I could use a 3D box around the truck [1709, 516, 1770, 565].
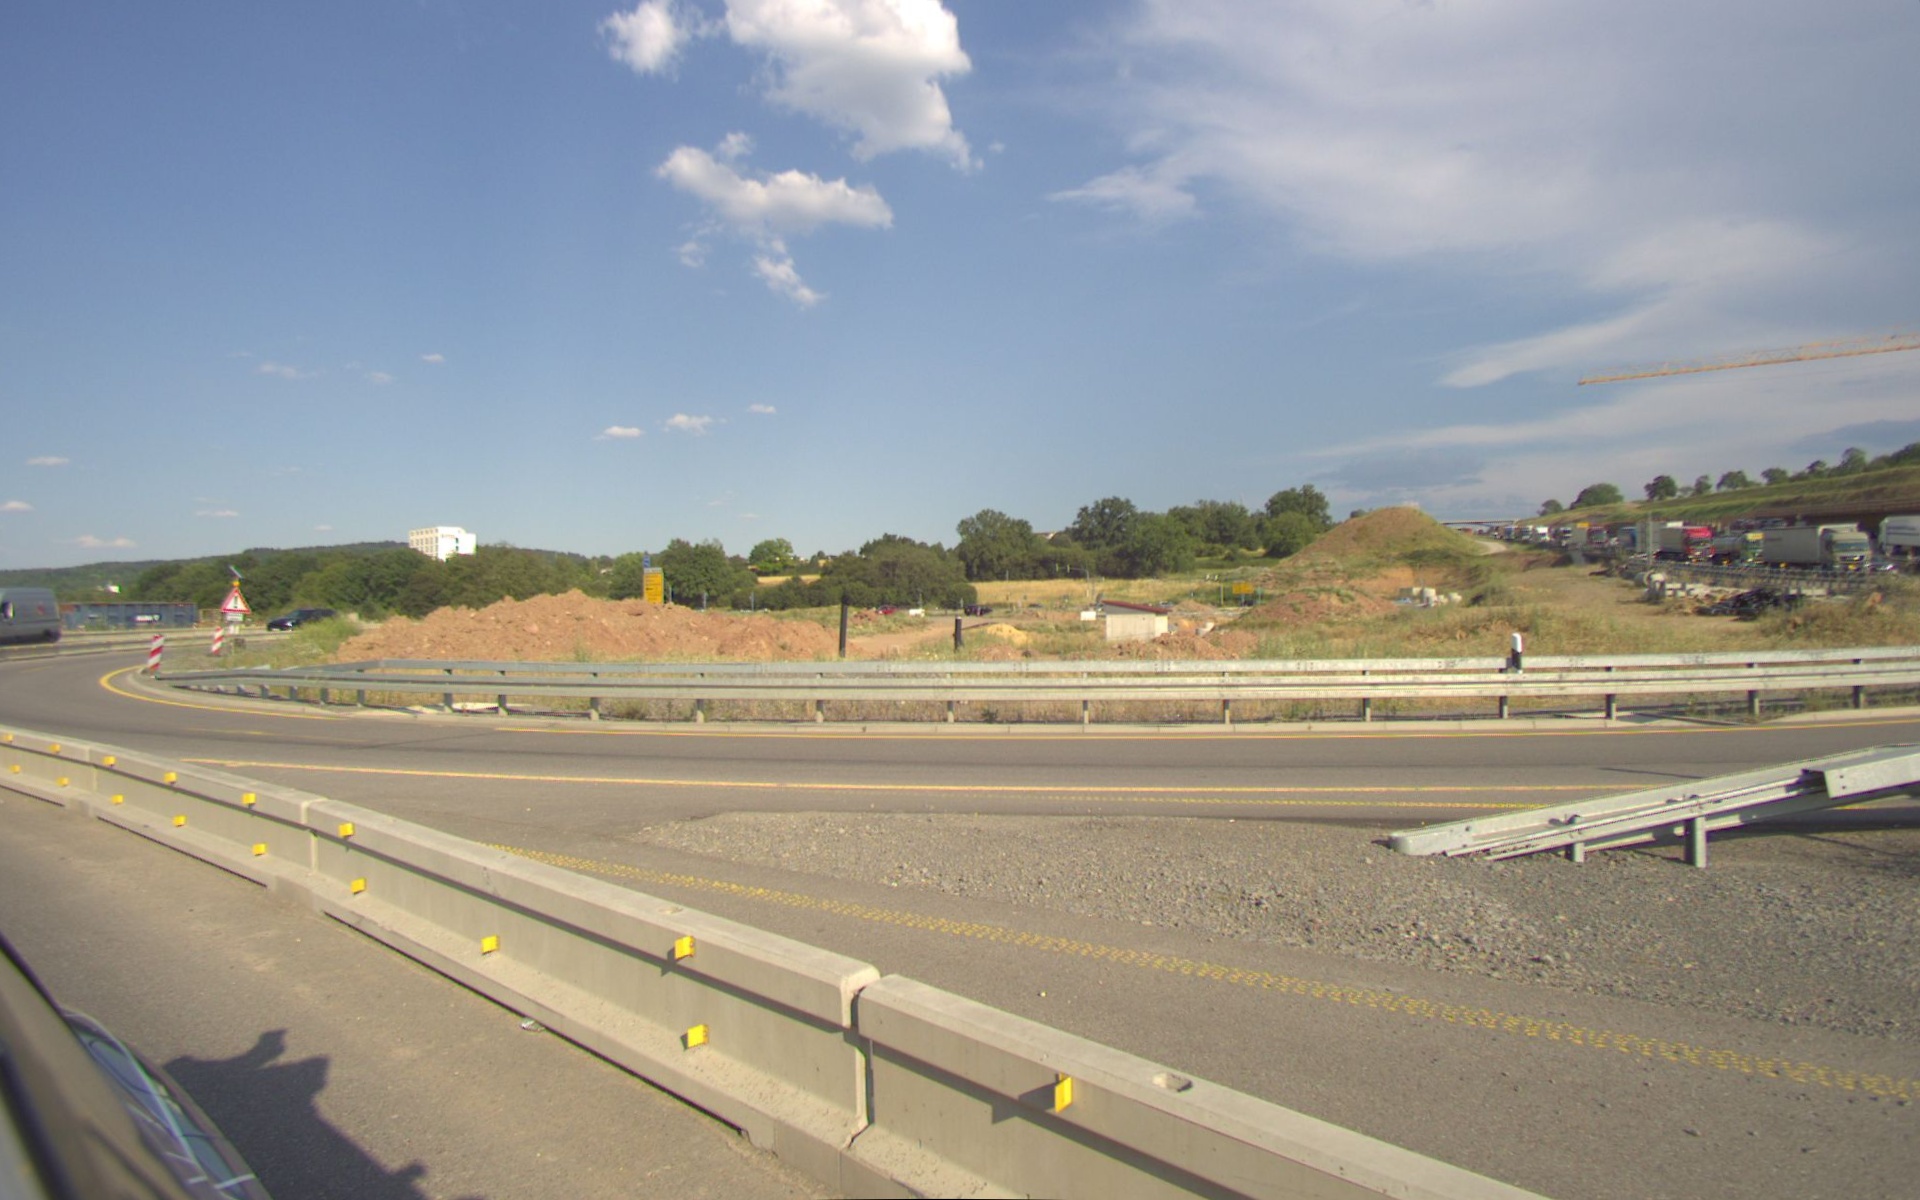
[{"bbox_3d":[76.946,-5.803,100.100,3.094,4.346,6.843,0,0,23],"label":"truck"}]

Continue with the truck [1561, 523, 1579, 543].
[{"bbox_3d":[118.200,-12.992,196.252,1.986,3.491,6.172,0,0,22],"label":"truck"}]

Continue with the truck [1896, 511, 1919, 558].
[{"bbox_3d":[98.928,-6.741,102.483,3.561,4.445,13.032,0,0,32],"label":"truck"}]

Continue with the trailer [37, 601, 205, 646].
[{"bbox_3d":[-48.461,1.293,58.781,2.984,2.432,7.197,-1,0,14],"label":"trailer"}]

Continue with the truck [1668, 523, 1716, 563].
[{"bbox_3d":[86.751,-6.715,120.078,3.094,4.346,6.843,0,0,23],"label":"truck"}]

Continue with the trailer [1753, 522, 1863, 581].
[{"bbox_3d":[72.265,-3.951,86.719,3.094,4.346,14.142,0,0,23],"label":"trailer"}]

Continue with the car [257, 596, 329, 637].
[{"bbox_3d":[-40.983,0.979,62.280,1.850,2.421,4.001,0,0,-1],"label":"car"}]

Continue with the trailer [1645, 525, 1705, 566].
[{"bbox_3d":[89.827,-6.715,127.402,3.094,4.346,14.142,0,0,23],"label":"trailer"}]

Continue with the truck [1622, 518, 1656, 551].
[{"bbox_3d":[95.457,-9.147,142.354,2.508,4.031,8.483,0,0,24],"label":"truck"}]

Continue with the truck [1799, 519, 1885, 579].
[{"bbox_3d":[69.485,-3.950,79.928,3.094,4.346,6.843,0,0,23],"label":"truck"}]

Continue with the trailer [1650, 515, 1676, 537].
[{"bbox_3d":[137.139,-14.355,197.512,1.960,3.540,11.087,0,0,23],"label":"trailer"}]

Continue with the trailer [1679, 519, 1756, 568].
[{"bbox_3d":[79.919,-5.819,107.117,3.094,4.346,14.142,0,0,23],"label":"trailer"}]

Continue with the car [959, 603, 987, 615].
[{"bbox_3d":[1.724,1.221,132.505,1.709,1.530,4.470,1,0,29],"label":"car"}]

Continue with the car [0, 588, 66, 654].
[{"bbox_3d":[-37.748,0.824,39.351,1.886,2.520,5.812,0,0,-12],"label":"car"}]
